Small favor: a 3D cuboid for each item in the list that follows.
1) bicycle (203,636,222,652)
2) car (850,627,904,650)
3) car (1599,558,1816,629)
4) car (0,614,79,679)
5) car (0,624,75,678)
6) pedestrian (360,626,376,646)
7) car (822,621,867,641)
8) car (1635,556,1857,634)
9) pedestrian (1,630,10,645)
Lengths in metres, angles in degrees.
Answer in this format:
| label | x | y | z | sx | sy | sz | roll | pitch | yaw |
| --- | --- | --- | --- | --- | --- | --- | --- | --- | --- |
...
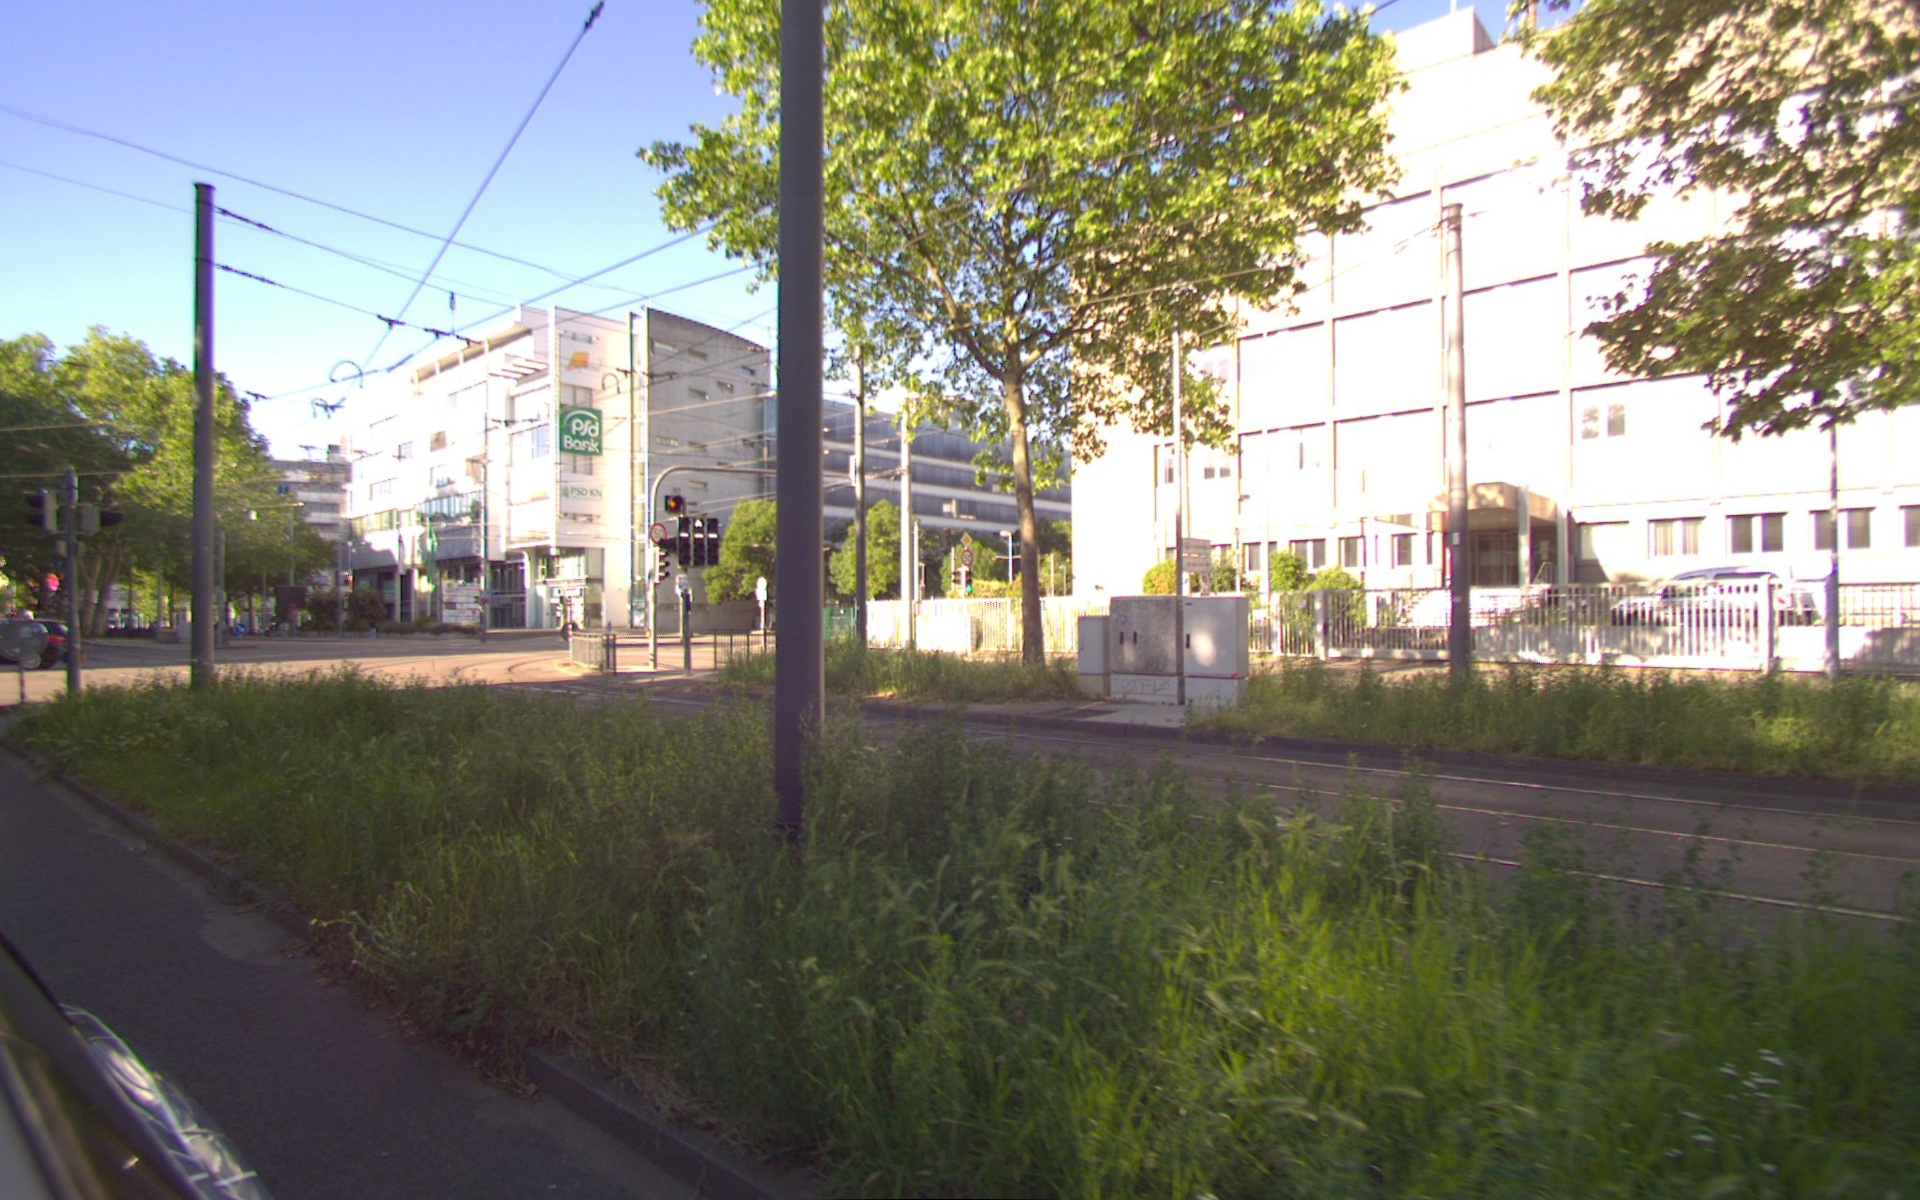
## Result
| label | x | y | z | sx | sy | sz | roll | pitch | yaw |
| --- | --- | --- | --- | --- | --- | --- | --- | --- | --- |
| bicycle | -44.999 | 2.628 | 60.918 | 0.803 | 0.953 | 1.728 | 0 | -2 | -42 |
| car | -6.305 | 2.929 | 77.478 | 2.104 | 1.710 | 3.923 | -2 | -2 | 35 |
| car | 19.944 | -0.117 | 27.139 | 1.970 | 1.716 | 4.382 | 1 | -2 | -43 |
| car | -30.496 | 1.461 | 31.444 | 4.347 | 1.962 | 2.006 | -1 | -1 | -26 |
| car | -30.738 | 1.594 | 31.342 | 4.673 | 1.629 | 2.006 | 0 | -2 | -28 |
| pedestrian | -48.218 | 2.936 | 82.431 | 0.767 | 1.604 | 0.896 | -2 | -2 | 41 |
| car | -10.197 | 2.726 | 89.575 | 1.734 | 1.666 | 3.900 | -2 | -1 | 41 |
| car | 22.374 | -0.076 | 28.956 | 1.970 | 2.029 | 4.729 | 1 | -2 | -43 |
| pedestrian | -116.384 | 4.606 | 123.440 | 0.674 | 1.767 | 0.649 | -2 | -2 | 34 |
